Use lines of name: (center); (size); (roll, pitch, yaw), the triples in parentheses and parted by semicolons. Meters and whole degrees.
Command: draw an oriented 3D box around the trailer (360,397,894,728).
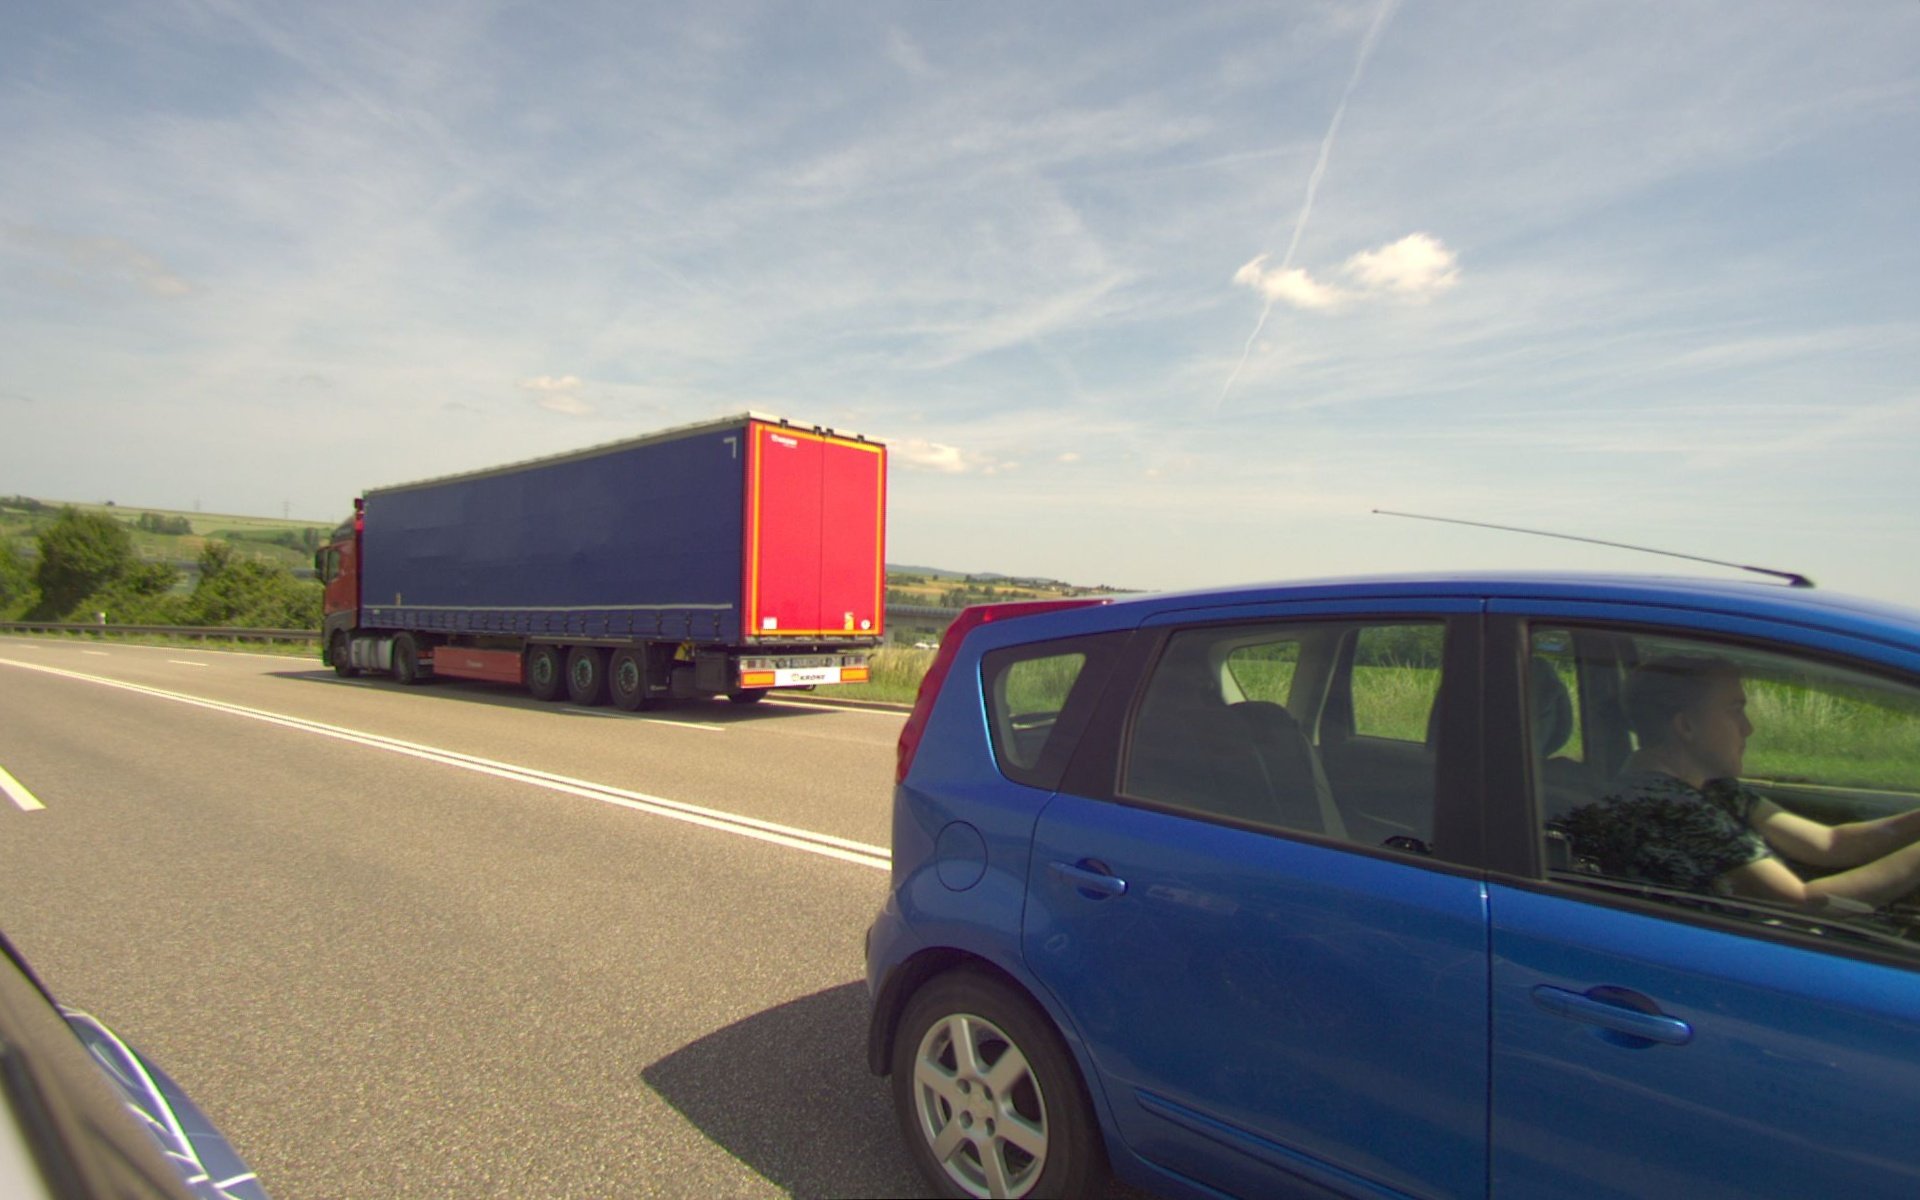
trailer: (-6.867, -0.362, 18.086); (13.577, 4.133, 2.518); (-1, -2, 41)

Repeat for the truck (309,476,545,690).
truck: (-11.969, -0.265, 22.524); (6.085, 4.133, 2.589); (-1, -2, 41)

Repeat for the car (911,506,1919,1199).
car: (1.878, 0.653, 1.704); (3.913, 1.542, 1.614); (-1, -1, 42)
